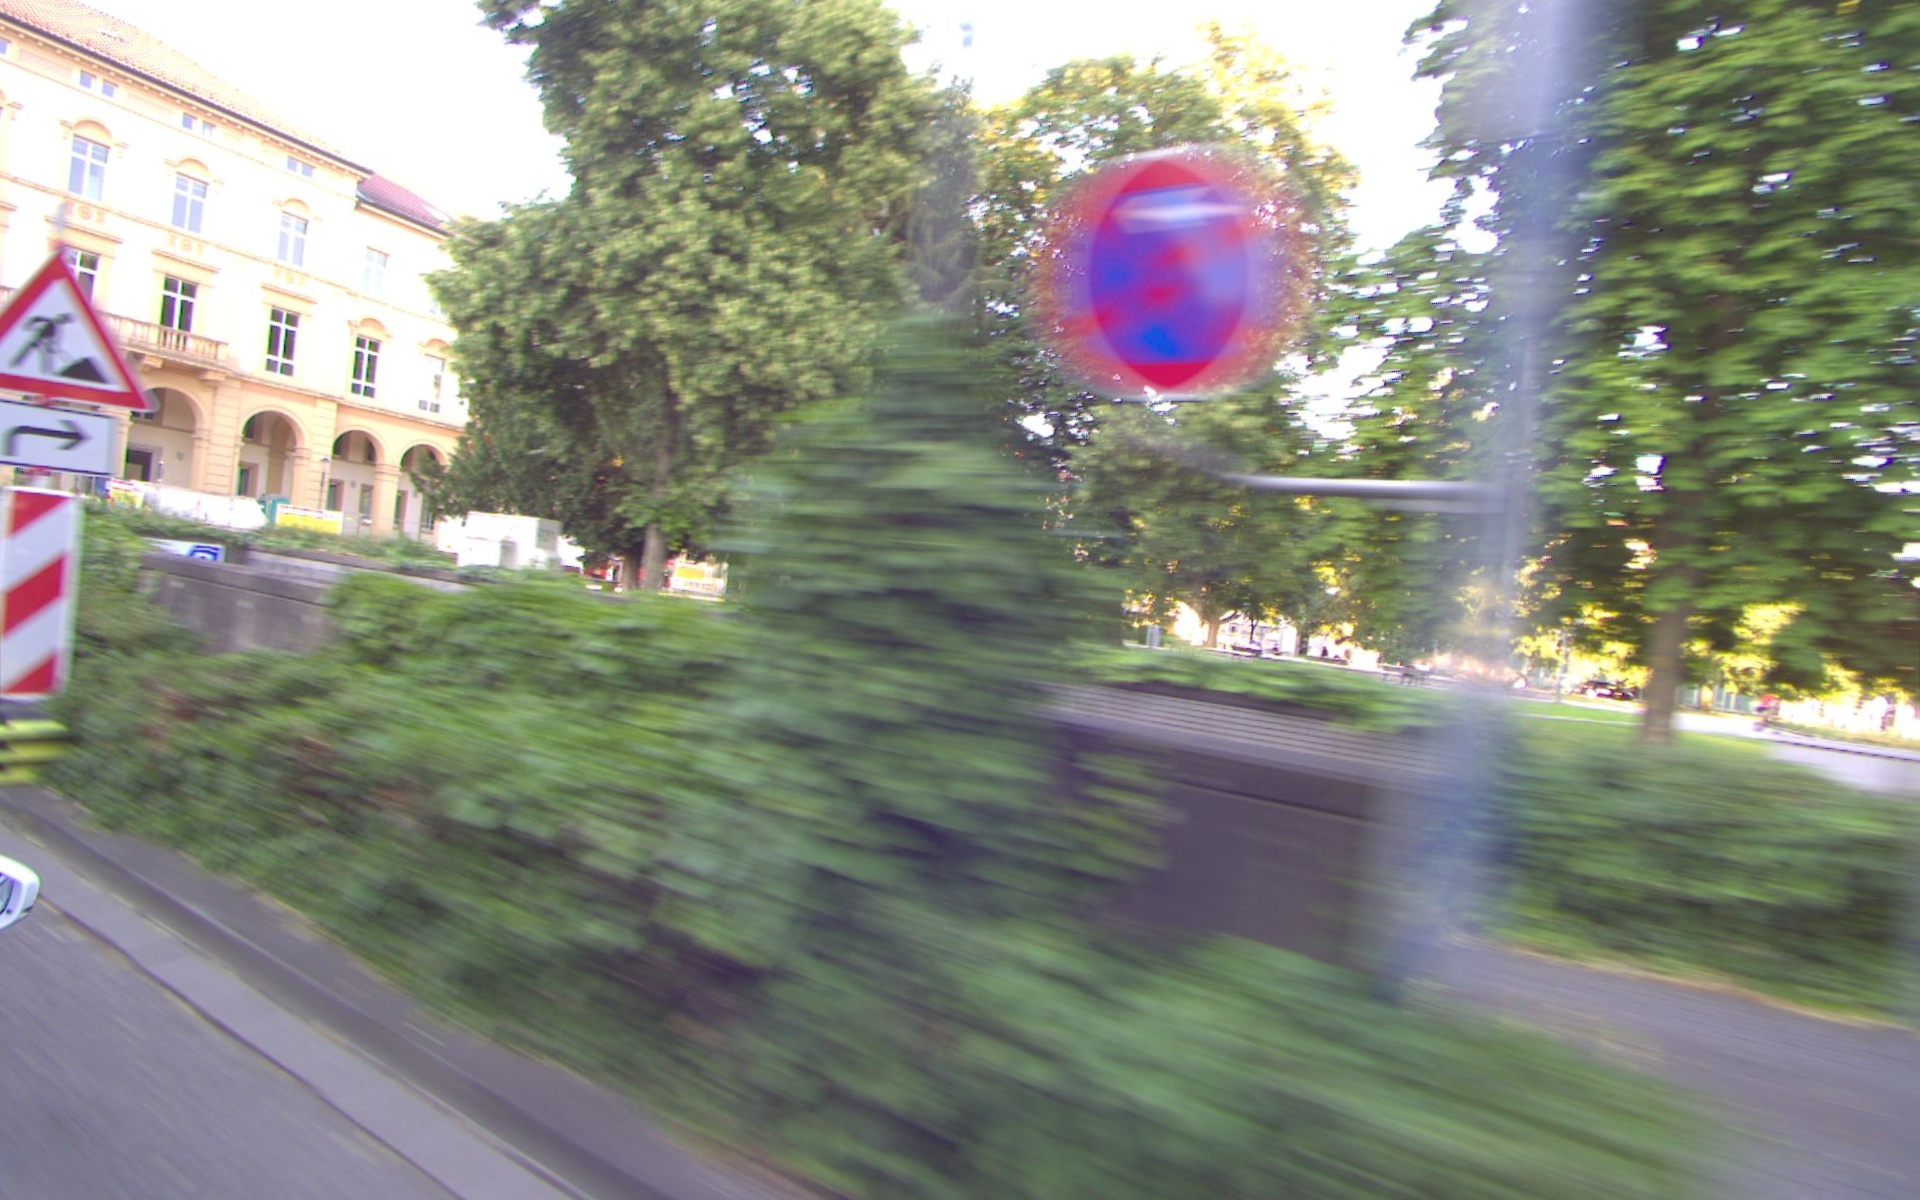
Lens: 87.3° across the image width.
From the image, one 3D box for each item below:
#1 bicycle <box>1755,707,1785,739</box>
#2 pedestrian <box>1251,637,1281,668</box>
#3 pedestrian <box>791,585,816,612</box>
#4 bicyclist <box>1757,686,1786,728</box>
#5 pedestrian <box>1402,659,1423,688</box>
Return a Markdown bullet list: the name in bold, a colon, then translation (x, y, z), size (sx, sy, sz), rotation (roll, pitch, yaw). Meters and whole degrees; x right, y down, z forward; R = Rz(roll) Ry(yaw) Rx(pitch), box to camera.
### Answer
- **bicycle**: translation (33.630, 5.092, 41.793), size (0.556, 1.191, 1.772), rotation (7, 0, 29)
- **pedestrian**: translation (14.897, 2.561, 48.995), size (1.061, 1.308, 0.834), rotation (7, 1, -40)
- **pedestrian**: translation (-7.969, -0.061, 51.249), size (0.911, 1.267, 0.708), rotation (7, 0, 27)
- **bicyclist**: translation (33.705, 4.449, 41.790), size (0.648, 1.653, 0.676), rotation (7, 1, 29)
- **pedestrian**: translation (20.448, 3.308, 45.463), size (0.653, 1.215, 1.103), rotation (7, 1, 30)
